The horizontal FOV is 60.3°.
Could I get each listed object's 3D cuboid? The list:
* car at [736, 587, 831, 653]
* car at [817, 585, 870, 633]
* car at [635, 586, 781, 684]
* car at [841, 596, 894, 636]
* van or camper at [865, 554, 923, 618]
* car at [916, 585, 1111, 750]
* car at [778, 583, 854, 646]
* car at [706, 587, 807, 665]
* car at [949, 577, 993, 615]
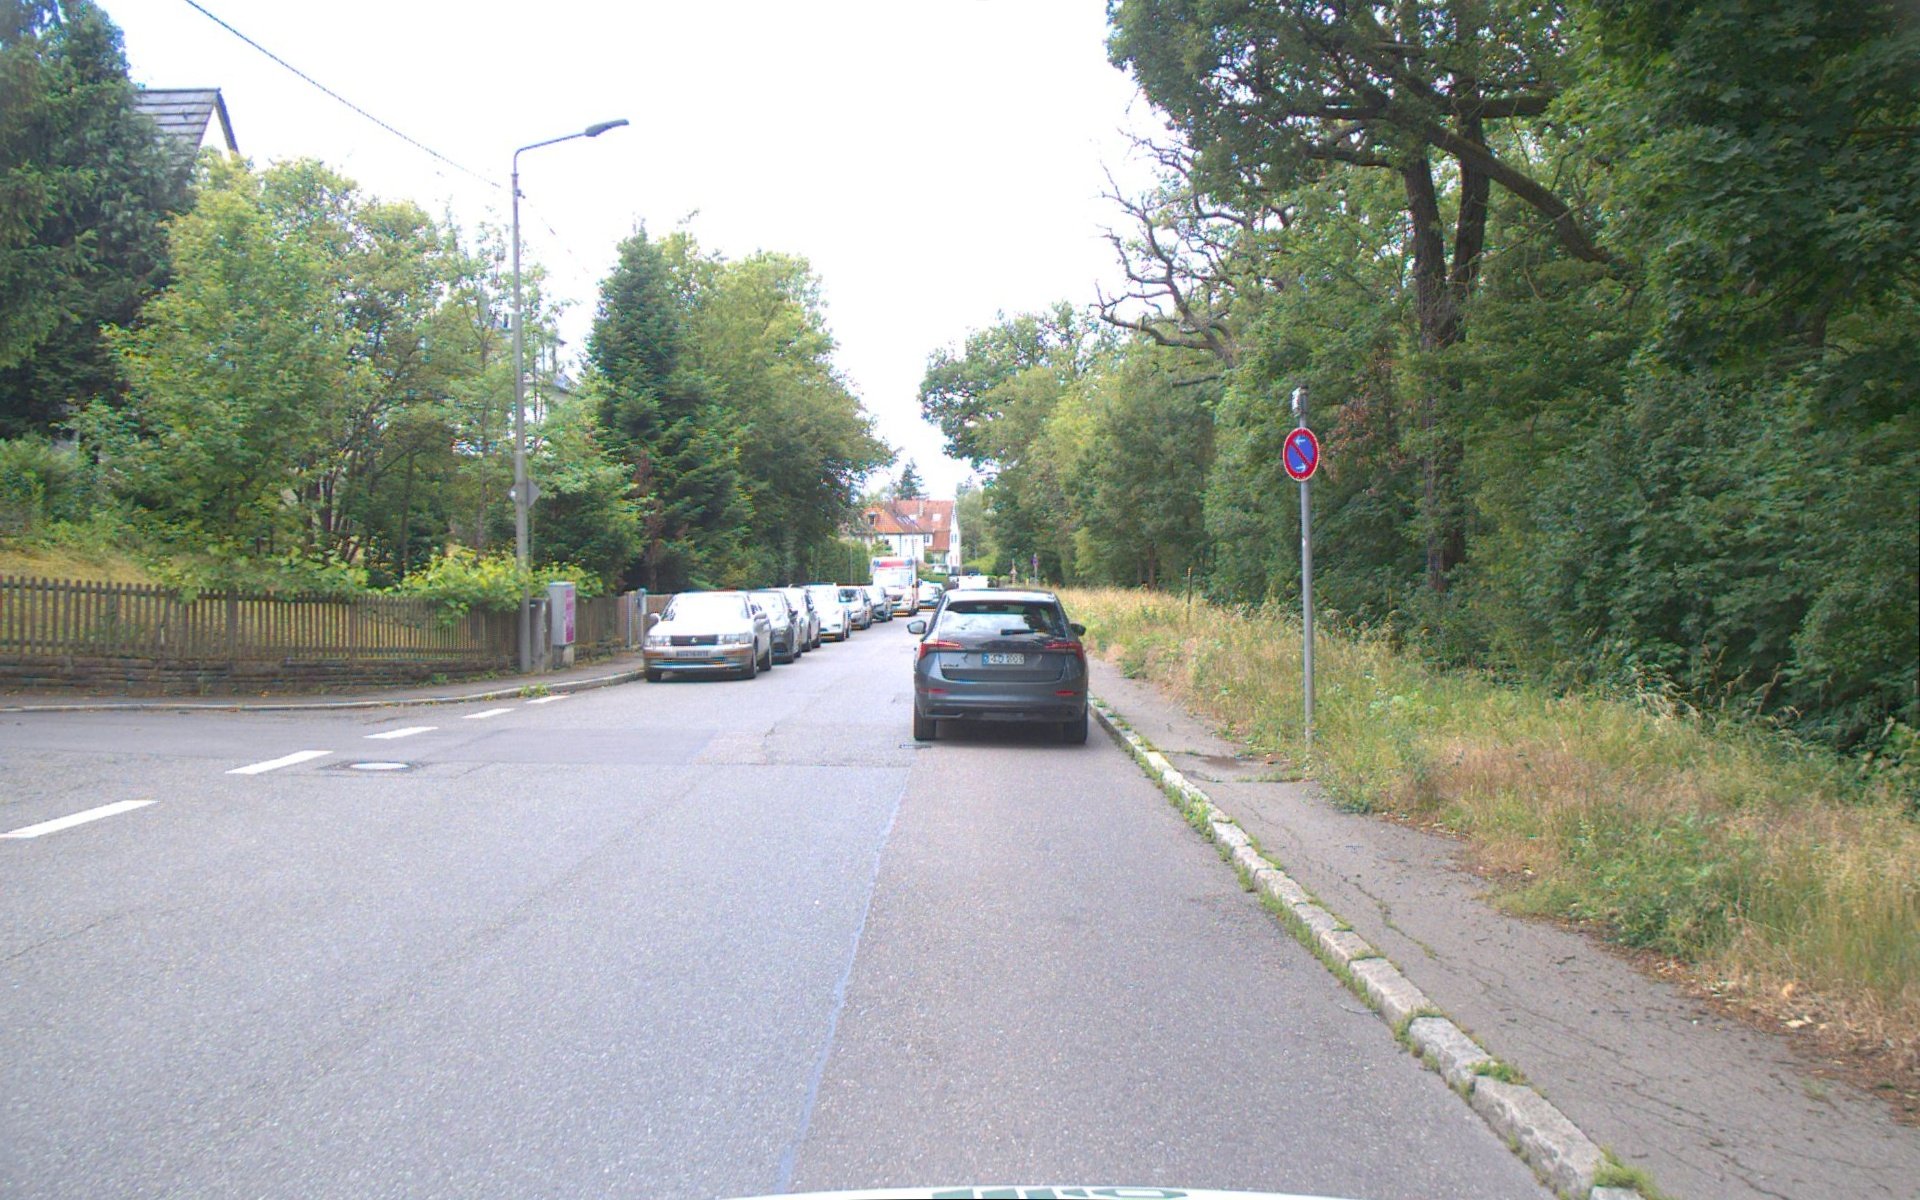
[{"bbox_3d":[-4.212,0.449,39.992,1.797,1.464,4.117,-2,0,0],"label":"car"},{"bbox_3d":[-4.013,0.284,57.245,1.686,1.531,4.006,-2,0,-3],"label":"car"},{"bbox_3d":[-4.156,0.518,27.988,1.811,1.464,4.909,-1,0,-2],"label":"car"},{"bbox_3d":[-3.877,0.659,70.002,1.761,1.531,4.864,-2,0,2],"label":"car"},{"bbox_3d":[-3.299,-0.678,81.347,2.408,2.945,7.160,-1,0,-5],"label":"van or camper"},{"bbox_3d":[0.435,0.600,17.242,1.693,1.464,4.322,0,1,-3],"label":"car"},{"bbox_3d":[-4.017,0.368,46.762,1.878,1.589,4.602,-2,1,-2],"label":"car"},{"bbox_3d":[-4.107,0.488,33.894,1.699,1.464,4.261,-1,0,-3],"label":"car"},{"bbox_3d":[0.551,-0.253,88.246,2.030,1.956,4.920,0,1,-3],"label":"car"}]
